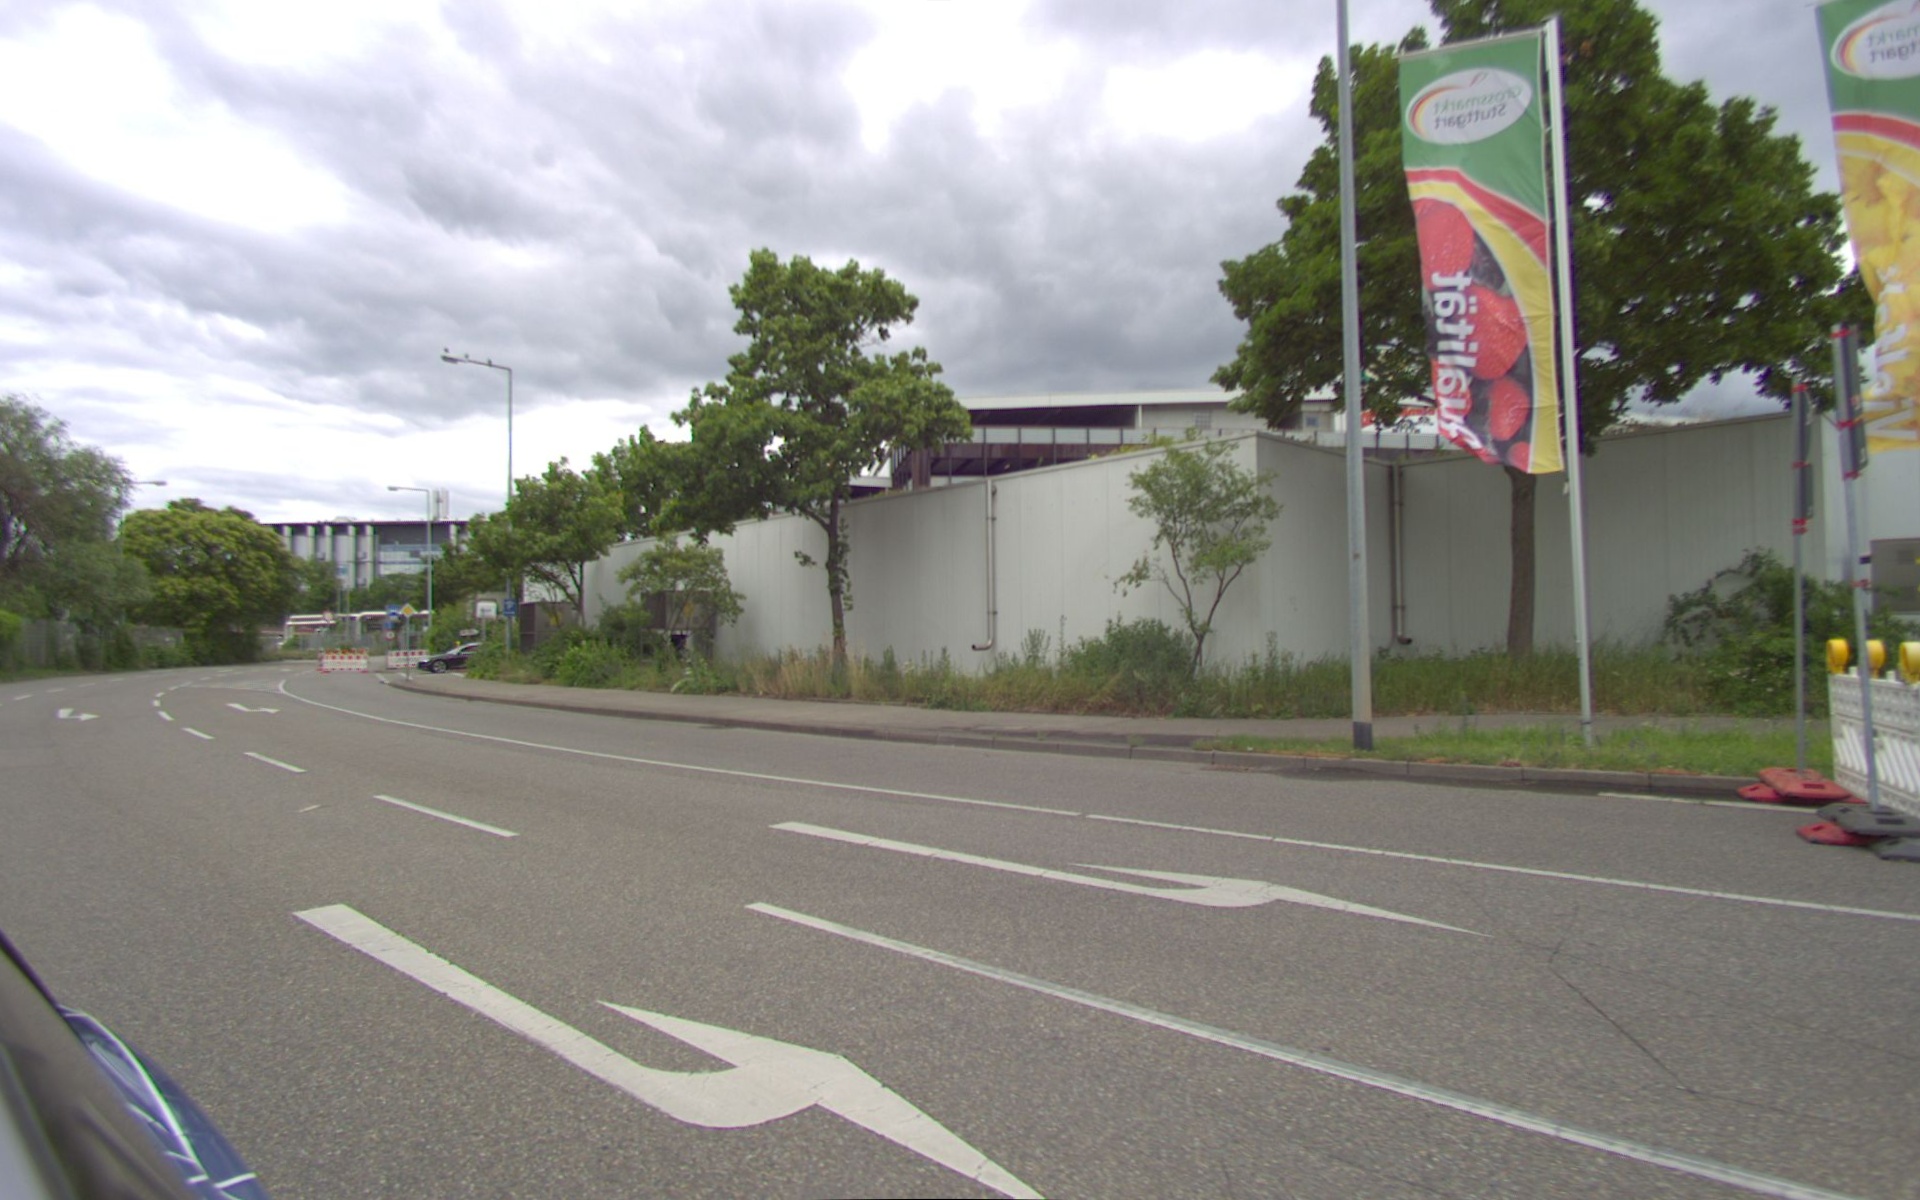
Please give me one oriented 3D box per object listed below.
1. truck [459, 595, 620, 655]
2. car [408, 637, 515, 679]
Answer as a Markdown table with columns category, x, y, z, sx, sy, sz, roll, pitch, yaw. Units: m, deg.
| category | x | y | z | sx | sy | sz | roll | pitch | yaw |
| --- | --- | --- | --- | --- | --- | --- | --- | --- | --- |
| truck | -26.867 | 1.593 | 65.005 | 9.126 | 3.623 | 2.939 | 1 | -2 | -36 |
| car | -25.109 | 2.890 | 51.060 | 4.547 | 1.823 | 2.004 | -1 | -1 | -37 |
